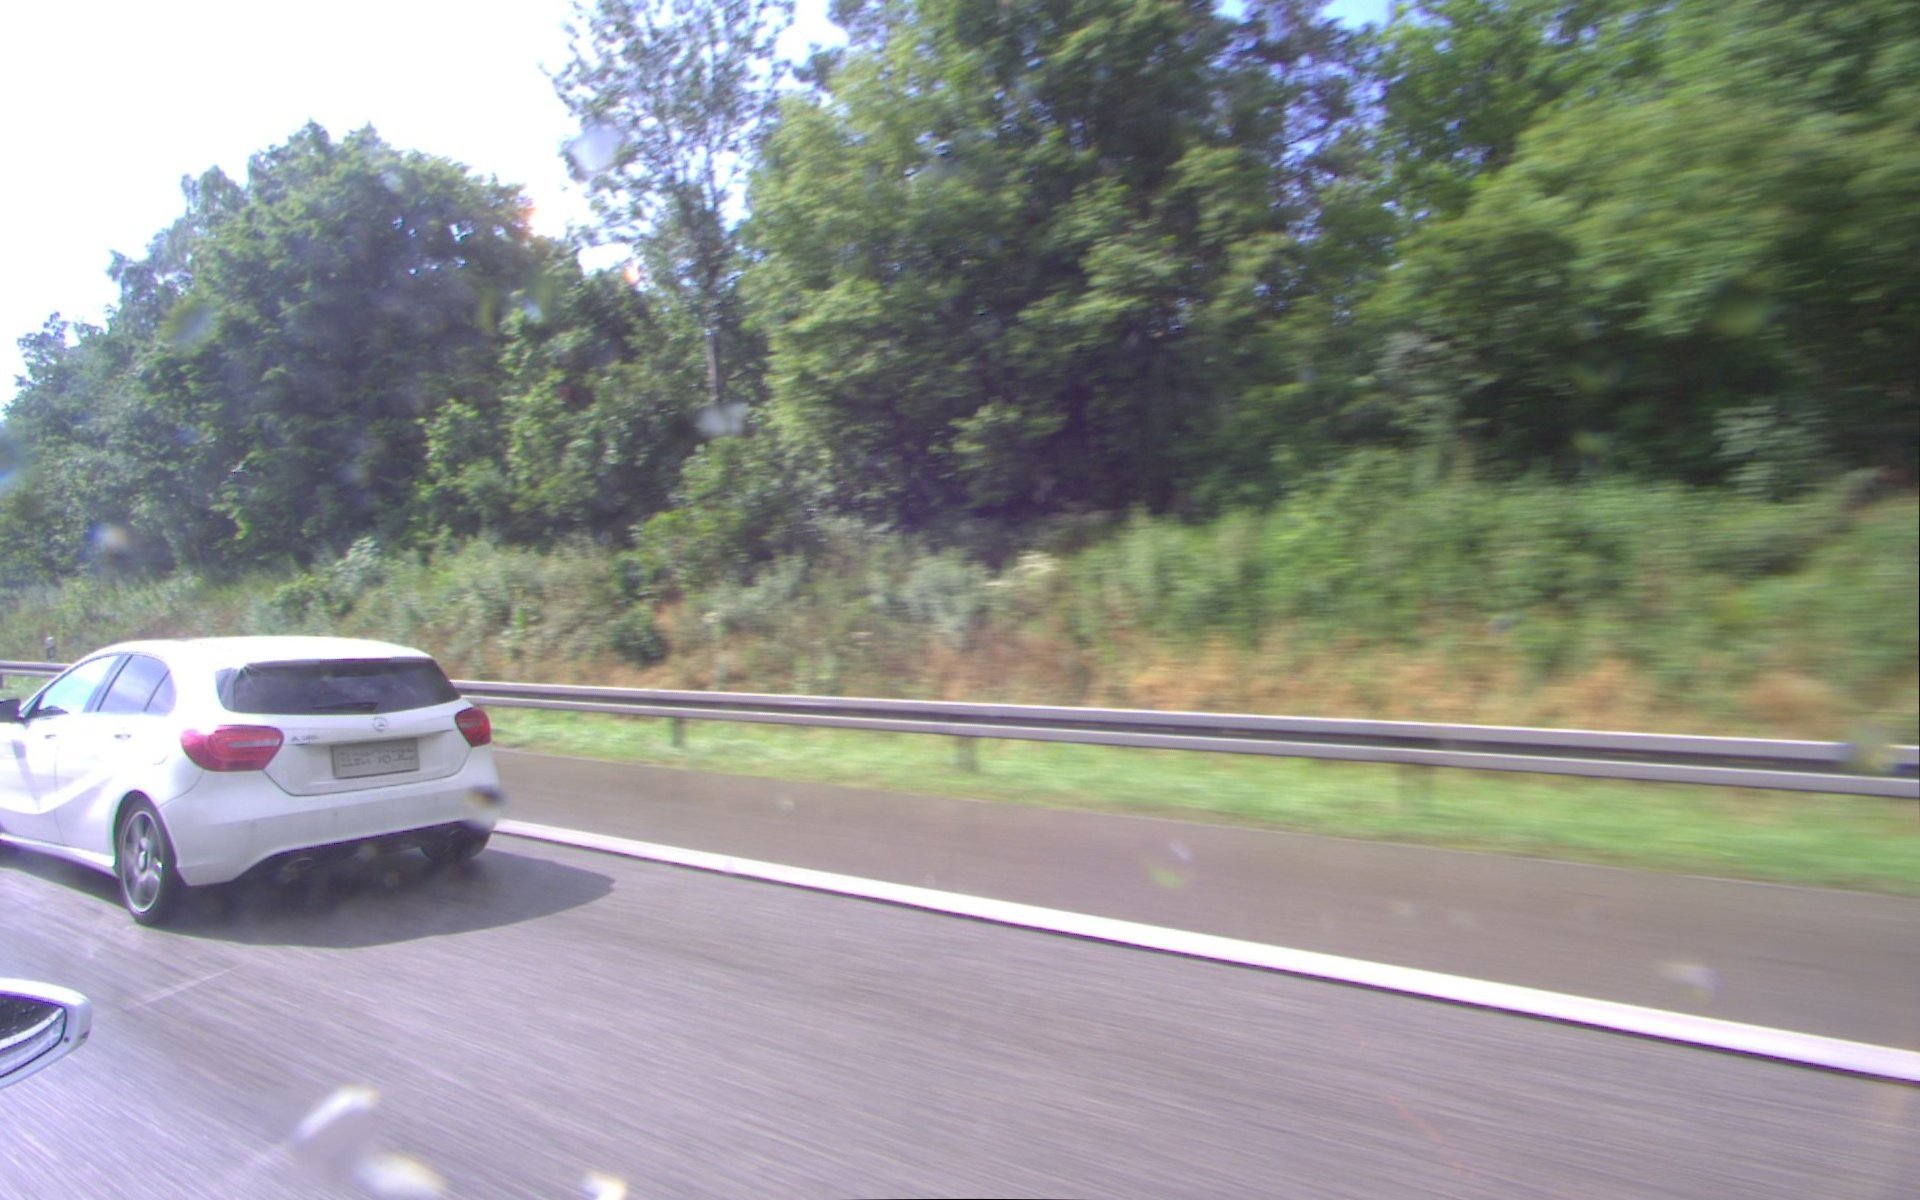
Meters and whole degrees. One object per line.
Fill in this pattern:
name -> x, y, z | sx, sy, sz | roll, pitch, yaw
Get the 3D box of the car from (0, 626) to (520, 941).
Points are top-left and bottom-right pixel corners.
car -> -4.850, 0.898, 6.437 | 4.160, 1.443, 1.689 | -1, -2, 32
